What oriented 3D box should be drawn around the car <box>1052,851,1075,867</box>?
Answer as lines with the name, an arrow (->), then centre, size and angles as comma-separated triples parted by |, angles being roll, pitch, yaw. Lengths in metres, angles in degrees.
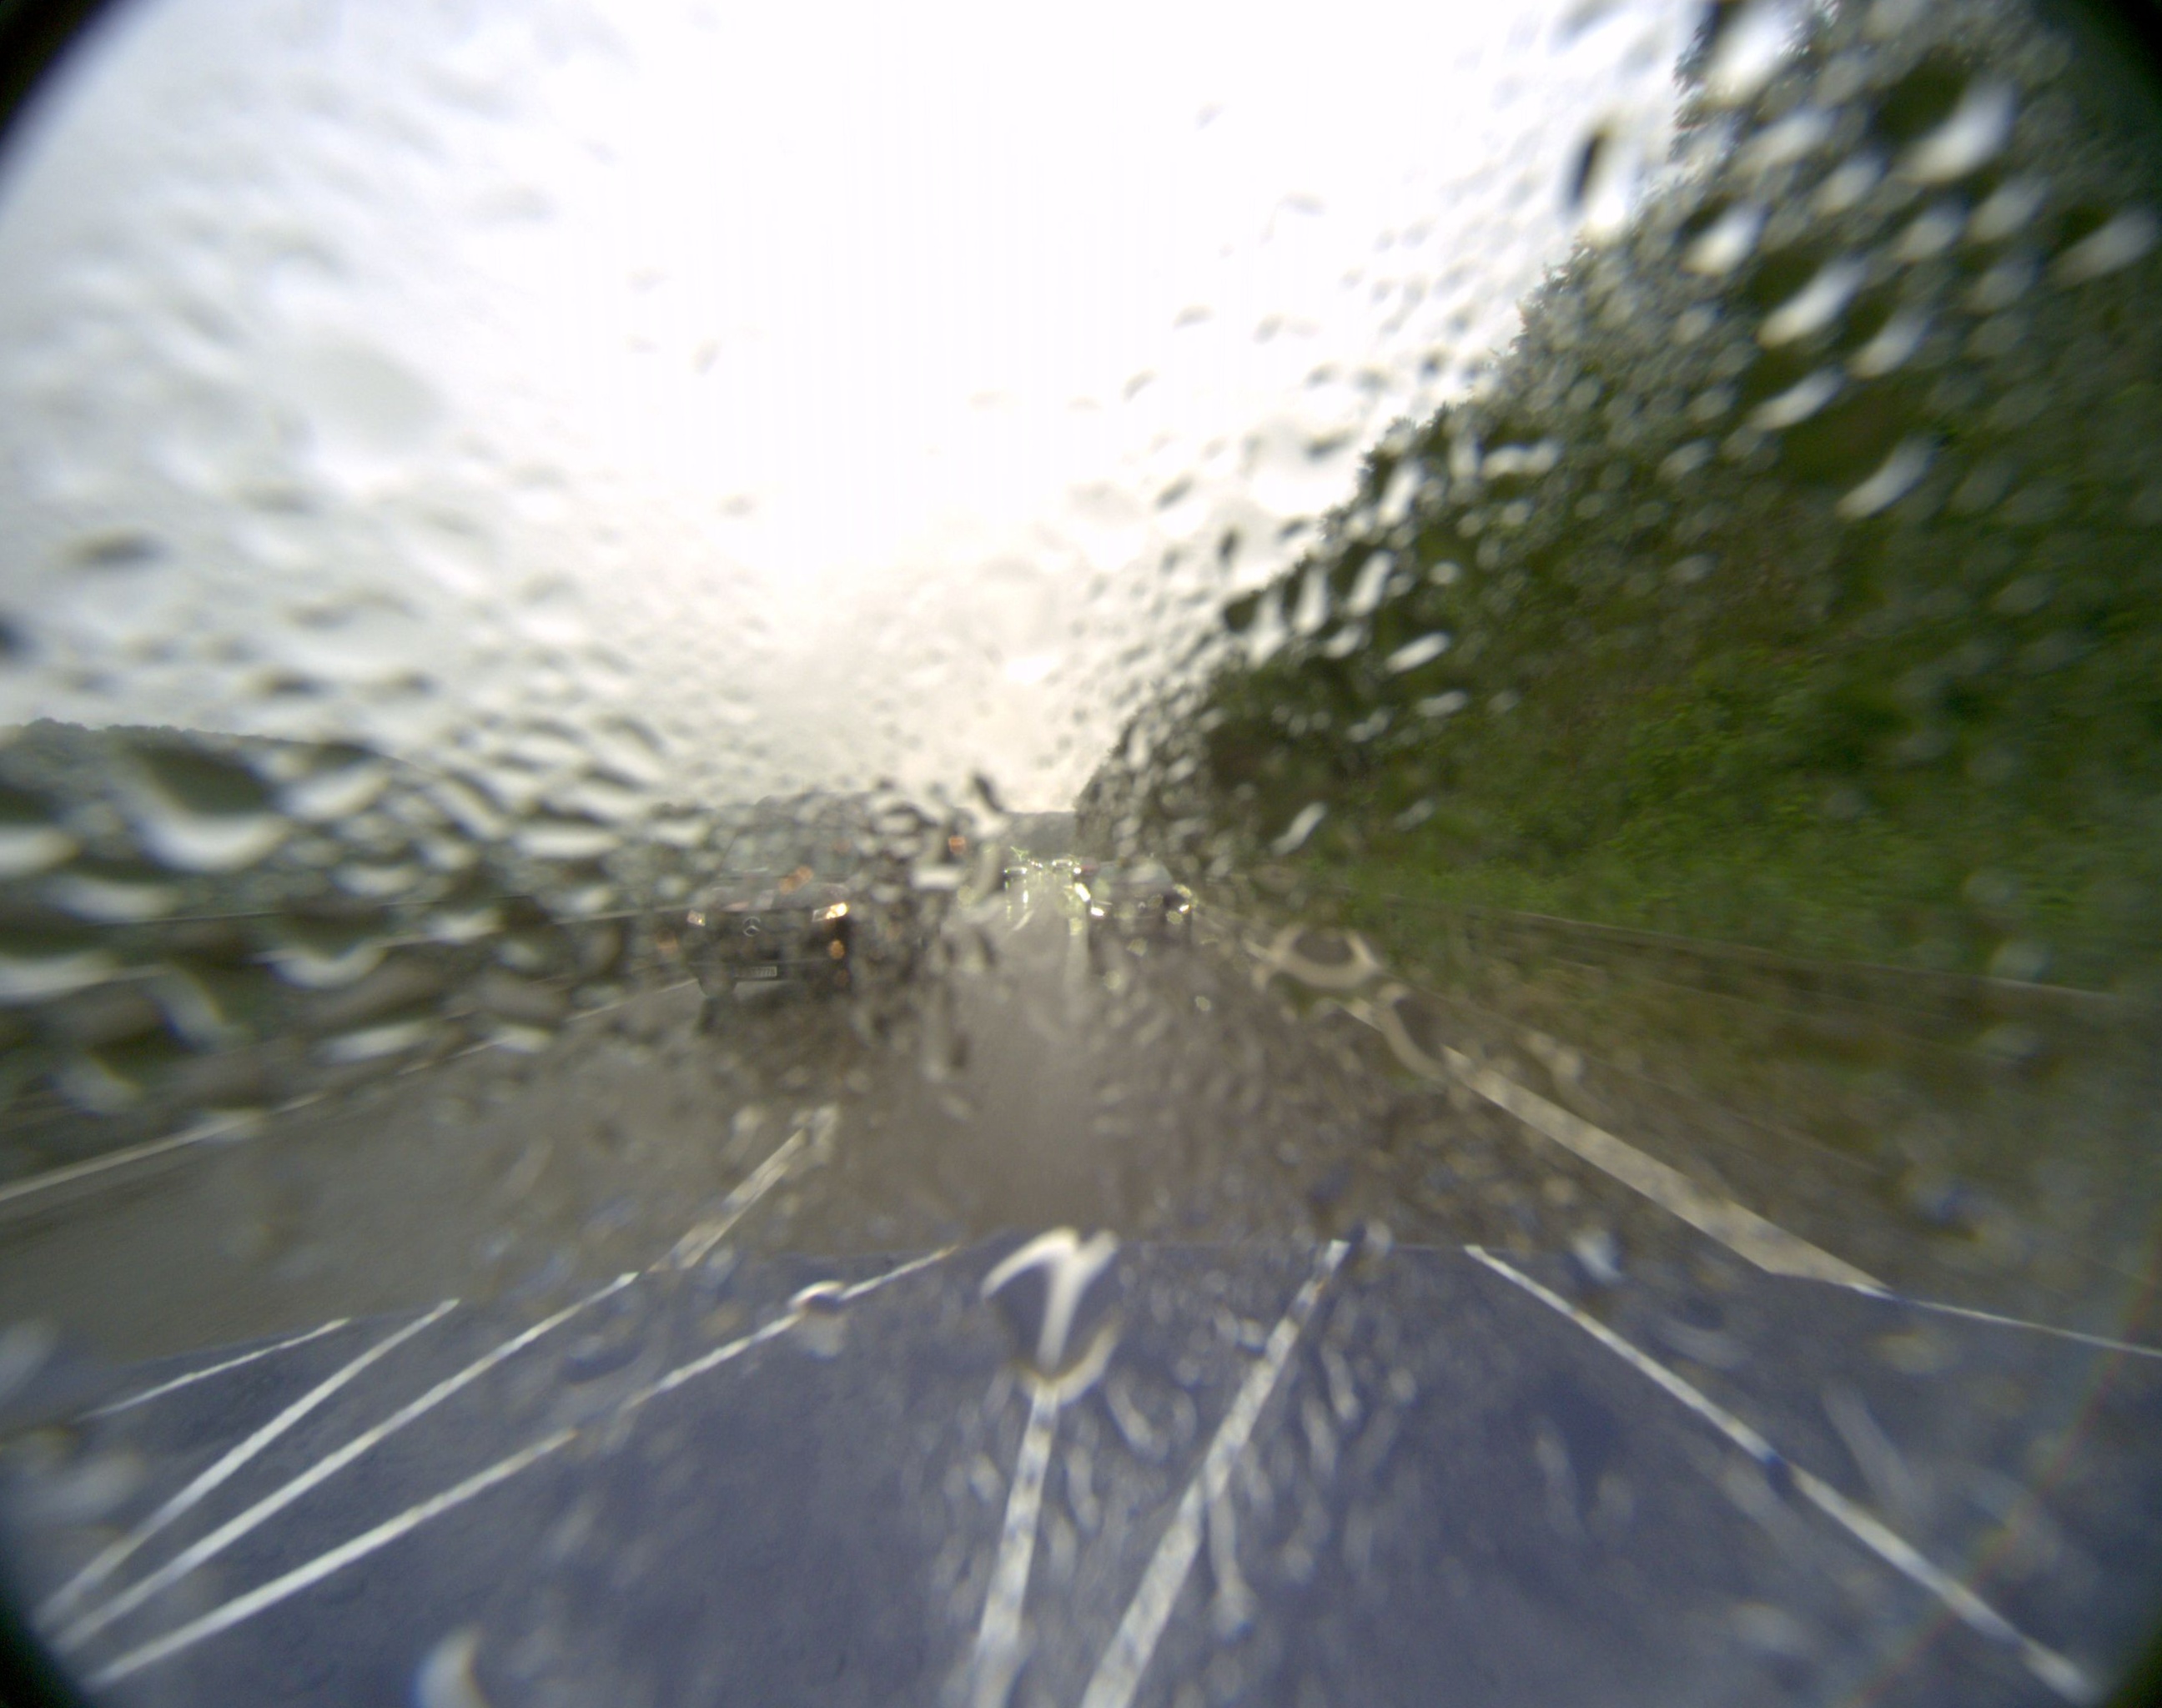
car -> -1.838, 0.506, 78.625 | 1.907, 1.545, 4.561 | -2, 0, -6

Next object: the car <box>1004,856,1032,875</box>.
car -> -5.062, 0.874, 61.490 | 1.991, 1.407, 4.563 | -2, 0, -2

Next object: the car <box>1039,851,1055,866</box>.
car -> -4.098, 0.526, 91.161 | 1.806, 1.723, 3.764 | -2, 0, -5

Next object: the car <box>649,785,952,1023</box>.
car -> -3.567, 0.514, 11.492 | 1.998, 2.480, 6.704 | -2, 0, 0

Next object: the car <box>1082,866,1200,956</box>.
car -> 0.975, 0.954, 14.346 | 1.839, 1.316, 4.135 | -2, 0, 0

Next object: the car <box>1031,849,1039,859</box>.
car -> -9.208, 0.031, 151.363 | 1.577, 1.809, 3.505 | 1, 1, -5

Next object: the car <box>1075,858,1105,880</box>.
car -> 0.521, 0.967, 48.514 | 1.713, 1.316, 3.945 | -1, -1, -2
